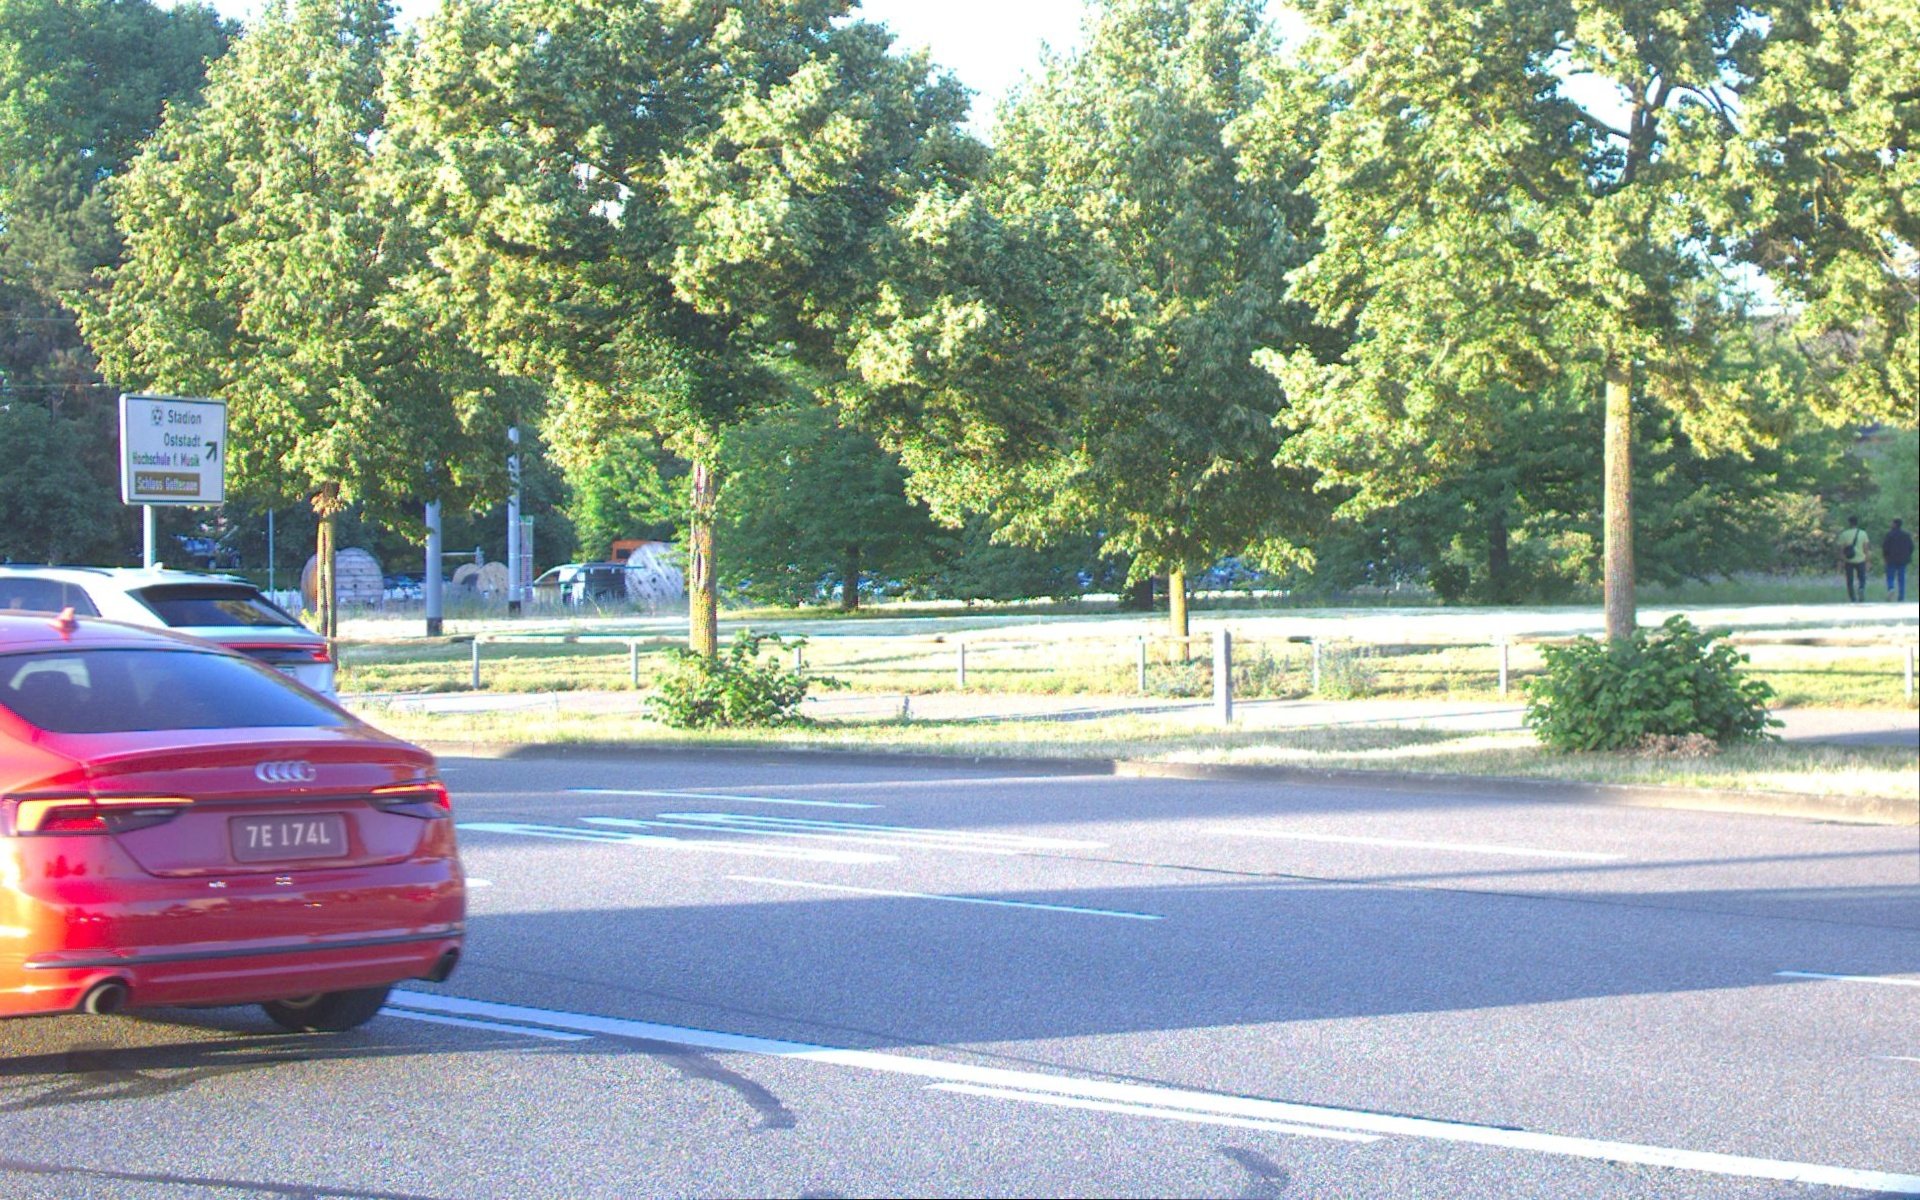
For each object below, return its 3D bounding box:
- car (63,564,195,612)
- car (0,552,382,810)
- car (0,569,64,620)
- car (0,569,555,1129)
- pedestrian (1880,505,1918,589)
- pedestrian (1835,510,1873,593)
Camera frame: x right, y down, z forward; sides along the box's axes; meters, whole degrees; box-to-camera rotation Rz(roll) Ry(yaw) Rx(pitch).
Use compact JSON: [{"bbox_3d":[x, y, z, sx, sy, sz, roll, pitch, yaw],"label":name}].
[{"bbox_3d":[-27.530,-0.398,113.898,3.994,1.545,1.997,0,1,31],"label":"car"},{"bbox_3d":[-6.804,0.519,25.382,4.934,1.704,1.910,1,2,30],"label":"car"},{"bbox_3d":[-30.338,-0.192,107.969,3.994,1.545,1.997,0,1,31],"label":"car"},{"bbox_3d":[-3.537,0.644,11.523,4.578,1.455,1.841,1,2,44],"label":"car"},{"bbox_3d":[18.402,-1.038,67.384,0.530,1.621,0.619,0,1,35],"label":"pedestrian"},{"bbox_3d":[17.556,-0.956,67.529,0.532,1.621,0.579,0,1,37],"label":"pedestrian"}]
